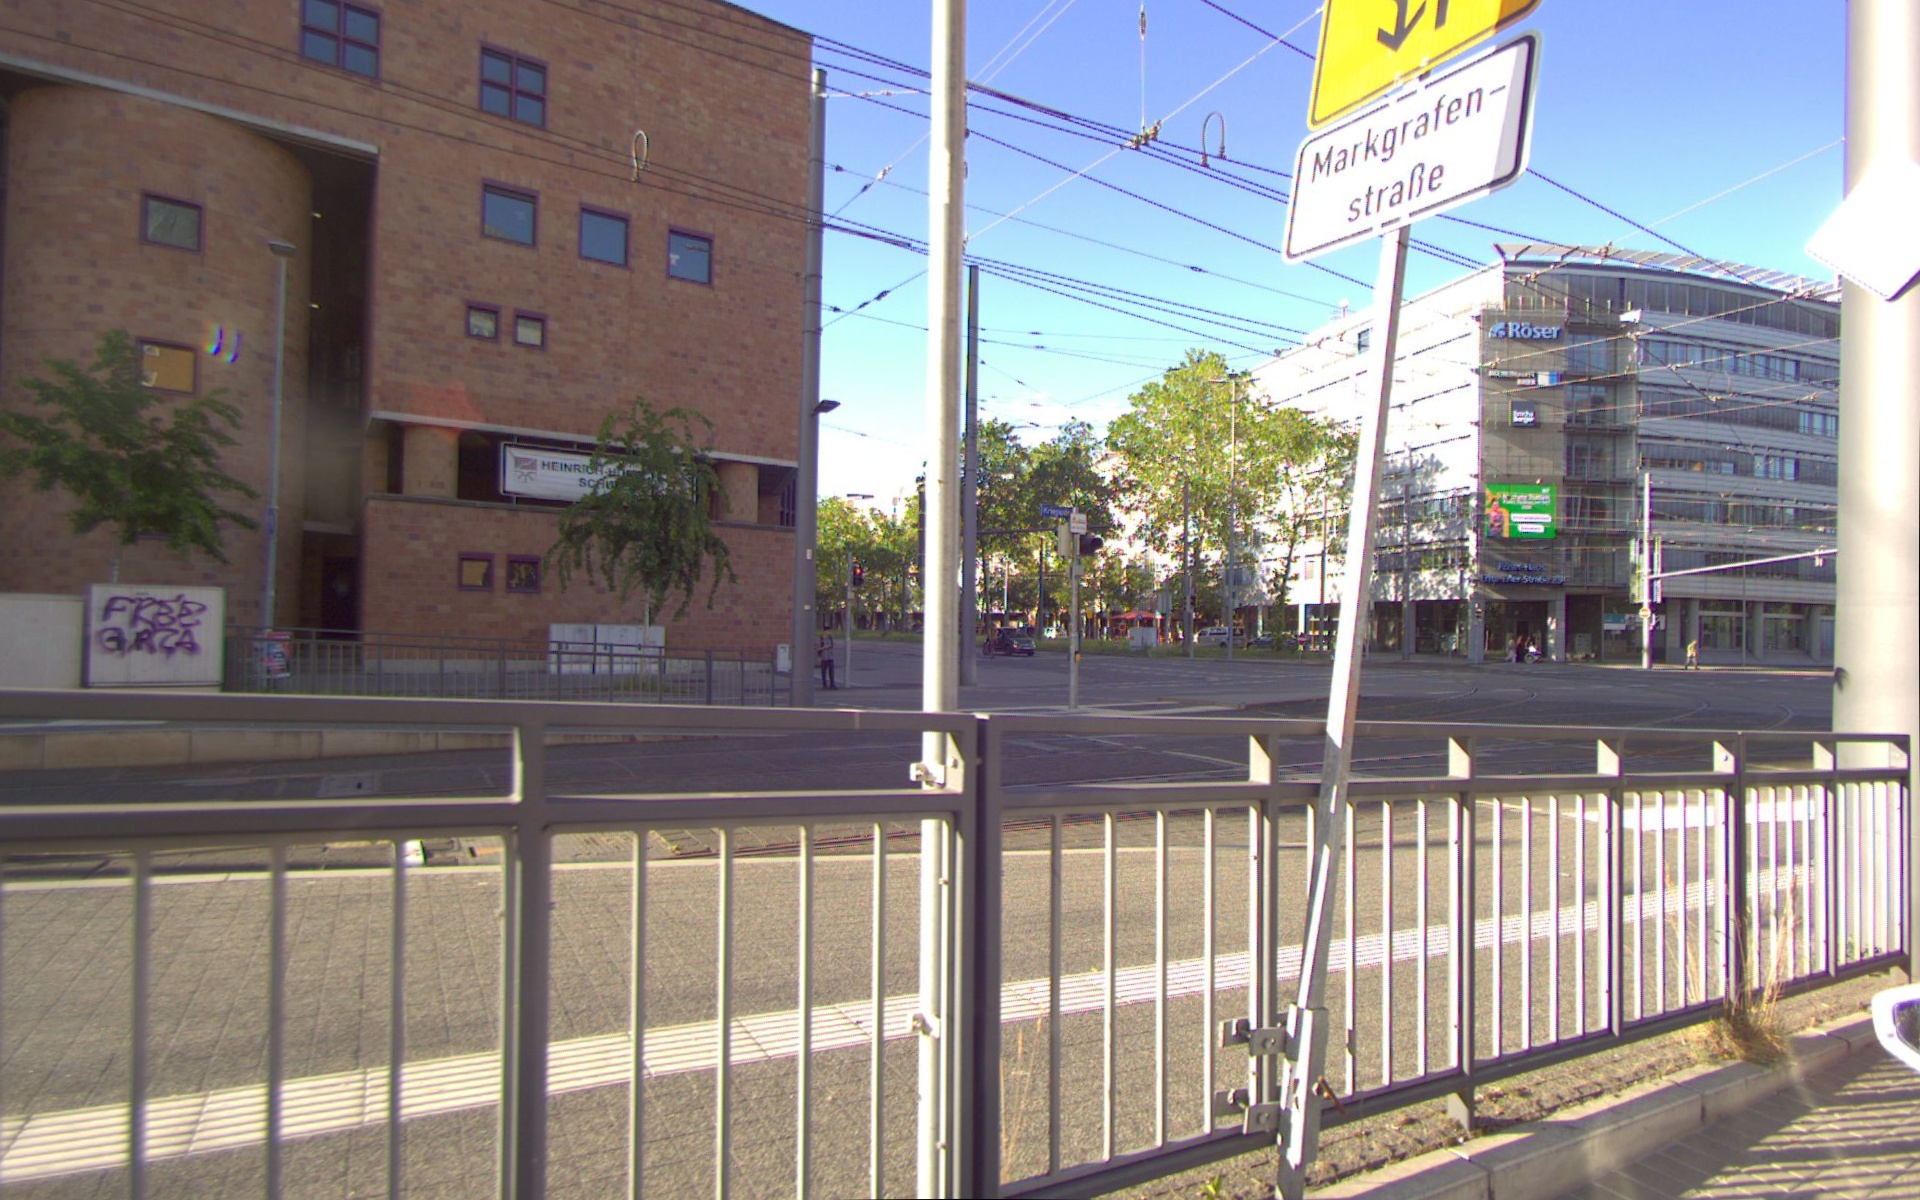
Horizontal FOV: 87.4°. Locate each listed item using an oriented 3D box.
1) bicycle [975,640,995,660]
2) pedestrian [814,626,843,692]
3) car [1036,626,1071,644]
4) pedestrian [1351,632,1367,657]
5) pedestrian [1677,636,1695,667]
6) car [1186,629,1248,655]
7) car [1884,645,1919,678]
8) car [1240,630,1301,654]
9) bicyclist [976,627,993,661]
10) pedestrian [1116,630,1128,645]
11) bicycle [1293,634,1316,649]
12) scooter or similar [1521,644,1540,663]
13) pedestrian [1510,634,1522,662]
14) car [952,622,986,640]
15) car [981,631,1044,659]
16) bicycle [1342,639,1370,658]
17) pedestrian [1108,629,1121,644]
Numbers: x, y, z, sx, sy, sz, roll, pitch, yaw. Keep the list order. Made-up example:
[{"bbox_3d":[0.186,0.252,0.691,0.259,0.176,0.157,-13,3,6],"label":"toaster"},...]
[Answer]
[{"bbox_3d":[1.253,2.511,50.536,0.528,0.925,1.564,2,-2,-16],"label":"bicycle"},{"bbox_3d":[-3.382,1.511,25.857,0.501,1.638,0.504,2,0,-40],"label":"pedestrian"},{"bbox_3d":[9.261,3.454,99.856,1.840,1.660,3.844,1,-1,-25],"label":"car"},{"bbox_3d":[27.200,3.044,68.467,0.599,1.633,0.831,-2,1,-29],"label":"pedestrian"},{"bbox_3d":[43.884,3.099,60.690,0.878,1.847,0.670,3,-3,-38],"label":"pedestrian"},{"bbox_3d":[20.154,3.243,78.906,1.904,1.868,4.889,-1,0,-28],"label":"car"},{"bbox_3d":[45.995,2.923,48.298,4.276,1.485,1.776,2,-2,-40],"label":"car"},{"bbox_3d":[22.917,3.061,74.217,1.840,1.594,4.387,-1,0,-25],"label":"car"},{"bbox_3d":[1.249,2.213,50.574,0.614,1.643,0.812,2,-1,-16],"label":"bicyclist"},{"bbox_3d":[17.069,3.936,105.924,0.861,1.567,0.987,2,-1,-26],"label":"pedestrian"},{"bbox_3d":[26.384,3.184,76.999,1.812,1.167,0.467,0,0,-23],"label":"bicycle"},{"bbox_3d":[35.562,3.357,62.606,1.001,1.144,0.549,0,-1,32],"label":"scooter or similar"},{"bbox_3d":[34.869,3.001,63.038,0.627,1.731,0.580,1,-1,31],"label":"pedestrian"},{"bbox_3d":[1.007,3.560,115.227,2.011,2.003,4.381,1,-1,-29],"label":"car"},{"bbox_3d":[2.775,2.414,54.122,1.637,1.346,3.591,2,-1,-32],"label":"car"},{"bbox_3d":[26.907,3.278,68.319,0.605,1.179,1.834,-2,1,-28],"label":"bicycle"},{"bbox_3d":[16.473,3.925,107.106,0.860,1.567,0.989,2,-1,-22],"label":"pedestrian"}]
